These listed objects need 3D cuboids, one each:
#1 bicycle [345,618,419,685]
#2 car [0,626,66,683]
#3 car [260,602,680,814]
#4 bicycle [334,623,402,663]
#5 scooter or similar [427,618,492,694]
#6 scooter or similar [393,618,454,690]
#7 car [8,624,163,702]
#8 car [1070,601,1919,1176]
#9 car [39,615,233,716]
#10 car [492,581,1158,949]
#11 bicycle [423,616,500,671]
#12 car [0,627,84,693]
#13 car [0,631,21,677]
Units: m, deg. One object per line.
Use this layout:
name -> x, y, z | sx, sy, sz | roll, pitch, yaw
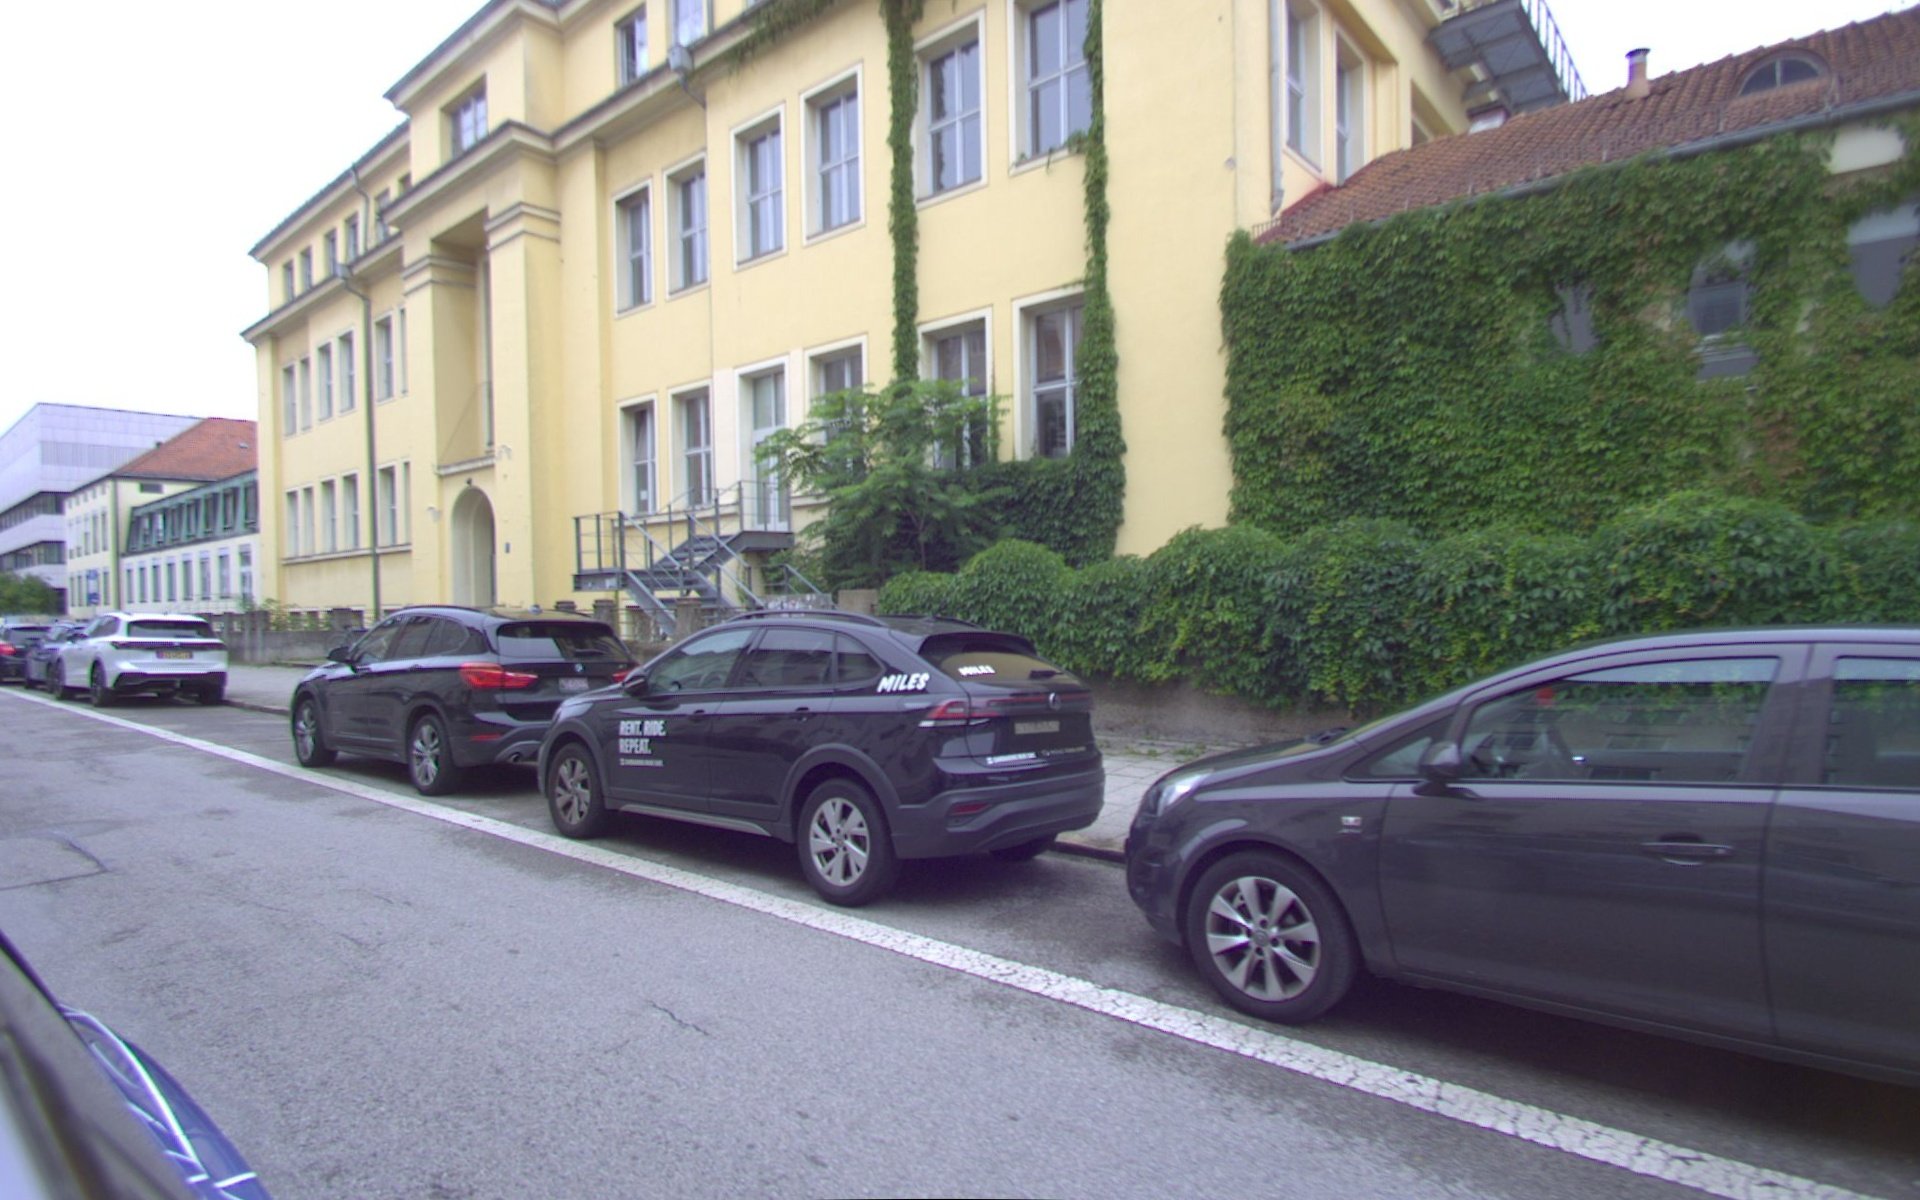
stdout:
bicycle -> -12.219, 1.060, 21.356 | 2.112, 1.338, 0.674 | -1, 0, 41
car -> -26.936, 1.506, 28.655 | 4.649, 1.442, 1.767 | -1, 0, 40
car -> -4.948, 0.885, 9.890 | 4.812, 1.599, 1.772 | -1, -3, 39
bicycle -> -16.728, 1.205, 28.639 | 0.425, 1.058, 1.643 | -2, -1, 33
scooter or similar -> -9.453, 1.035, 19.105 | 1.500, 1.379, 0.554 | -2, -1, 41
scooter or similar -> -10.654, 1.055, 20.086 | 1.500, 1.379, 0.554 | -2, -1, 41
car -> -19.053, 1.333, 21.976 | 4.490, 1.514, 1.686 | -1, -5, 39
car -> 2.593, 0.760, 3.439 | 4.247, 1.441, 1.587 | -1, -3, 39
car -> -15.317, 1.125, 18.713 | 4.849, 1.646, 1.729 | -1, -1, 38
car -> -1.108, 0.788, 6.603 | 4.461, 1.642, 1.707 | -1, -2, 39
bicycle -> -12.291, 1.053, 24.975 | 0.526, 1.278, 1.609 | -2, -1, 41
car -> -23.184, 1.434, 24.991 | 4.146, 1.508, 1.682 | -1, -4, 40
car -> -32.768, 1.748, 33.483 | 4.659, 1.440, 1.776 | -1, -3, 39
